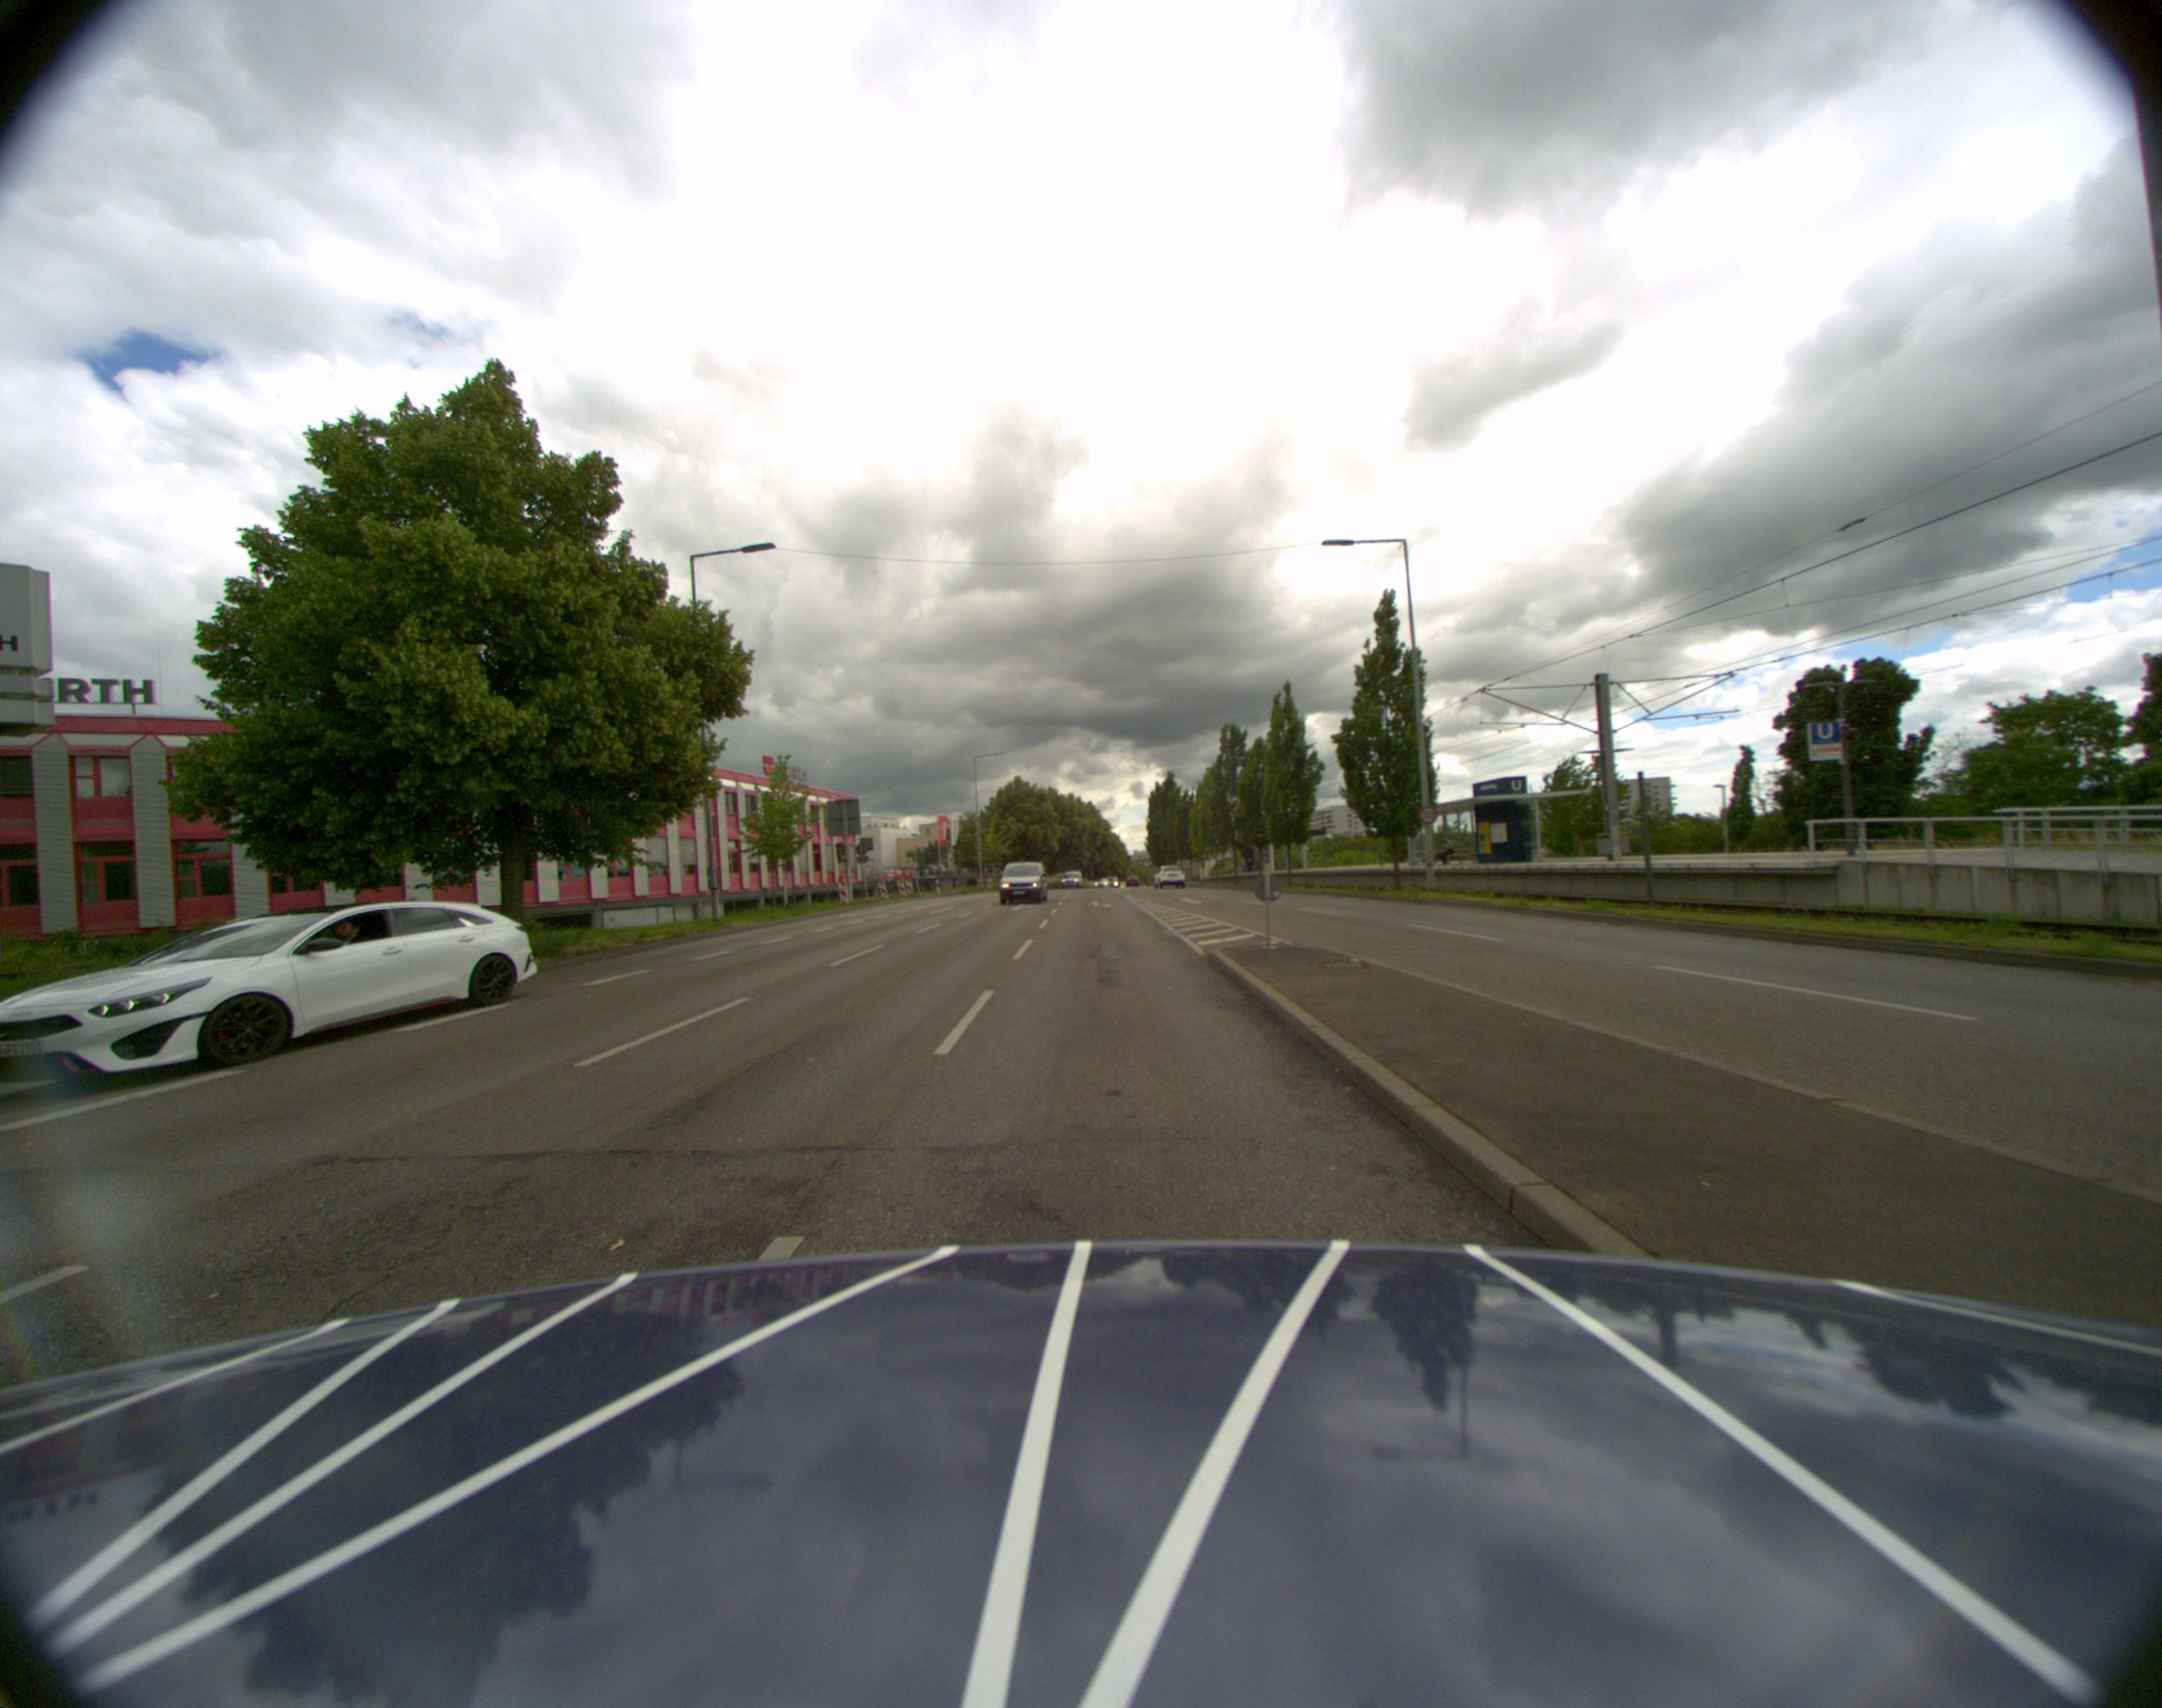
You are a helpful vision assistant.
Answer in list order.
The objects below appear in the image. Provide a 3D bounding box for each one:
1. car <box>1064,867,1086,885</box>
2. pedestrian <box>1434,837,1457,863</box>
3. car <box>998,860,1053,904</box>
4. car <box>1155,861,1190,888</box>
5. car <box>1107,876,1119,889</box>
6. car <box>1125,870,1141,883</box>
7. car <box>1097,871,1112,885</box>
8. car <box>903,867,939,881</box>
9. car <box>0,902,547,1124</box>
[{"bbox_3d":[-0.614,2.253,78.558,1.984,1.744,4.253,-2,0,3],"label":"car"},{"bbox_3d":[17.613,-0.182,36.728,0.663,1.195,0.782,-2,0,-7],"label":"pedestrian"},{"bbox_3d":[-2.383,1.201,33.926,1.782,1.744,4.253,-2,0,4],"label":"car"},{"bbox_3d":[6.358,1.490,53.285,1.834,1.618,4.428,-2,-4,-1],"label":"car"},{"bbox_3d":[4.895,4.345,116.656,1.782,1.744,4.253,-2,0,3],"label":"car"},{"bbox_3d":[6.439,2.768,94.877,1.785,1.434,4.426,-3,-1,2],"label":"car"},{"bbox_3d":[3.185,3.191,102.409,1.782,1.744,4.253,-2,0,3],"label":"car"},{"bbox_3d":[-21.226,2.672,101.000,4.248,1.744,1.784,-2,0,2],"label":"car"},{"bbox_3d":[-8.314,1.400,8.136,1.785,1.354,4.480,-3,1,3],"label":"car"}]
